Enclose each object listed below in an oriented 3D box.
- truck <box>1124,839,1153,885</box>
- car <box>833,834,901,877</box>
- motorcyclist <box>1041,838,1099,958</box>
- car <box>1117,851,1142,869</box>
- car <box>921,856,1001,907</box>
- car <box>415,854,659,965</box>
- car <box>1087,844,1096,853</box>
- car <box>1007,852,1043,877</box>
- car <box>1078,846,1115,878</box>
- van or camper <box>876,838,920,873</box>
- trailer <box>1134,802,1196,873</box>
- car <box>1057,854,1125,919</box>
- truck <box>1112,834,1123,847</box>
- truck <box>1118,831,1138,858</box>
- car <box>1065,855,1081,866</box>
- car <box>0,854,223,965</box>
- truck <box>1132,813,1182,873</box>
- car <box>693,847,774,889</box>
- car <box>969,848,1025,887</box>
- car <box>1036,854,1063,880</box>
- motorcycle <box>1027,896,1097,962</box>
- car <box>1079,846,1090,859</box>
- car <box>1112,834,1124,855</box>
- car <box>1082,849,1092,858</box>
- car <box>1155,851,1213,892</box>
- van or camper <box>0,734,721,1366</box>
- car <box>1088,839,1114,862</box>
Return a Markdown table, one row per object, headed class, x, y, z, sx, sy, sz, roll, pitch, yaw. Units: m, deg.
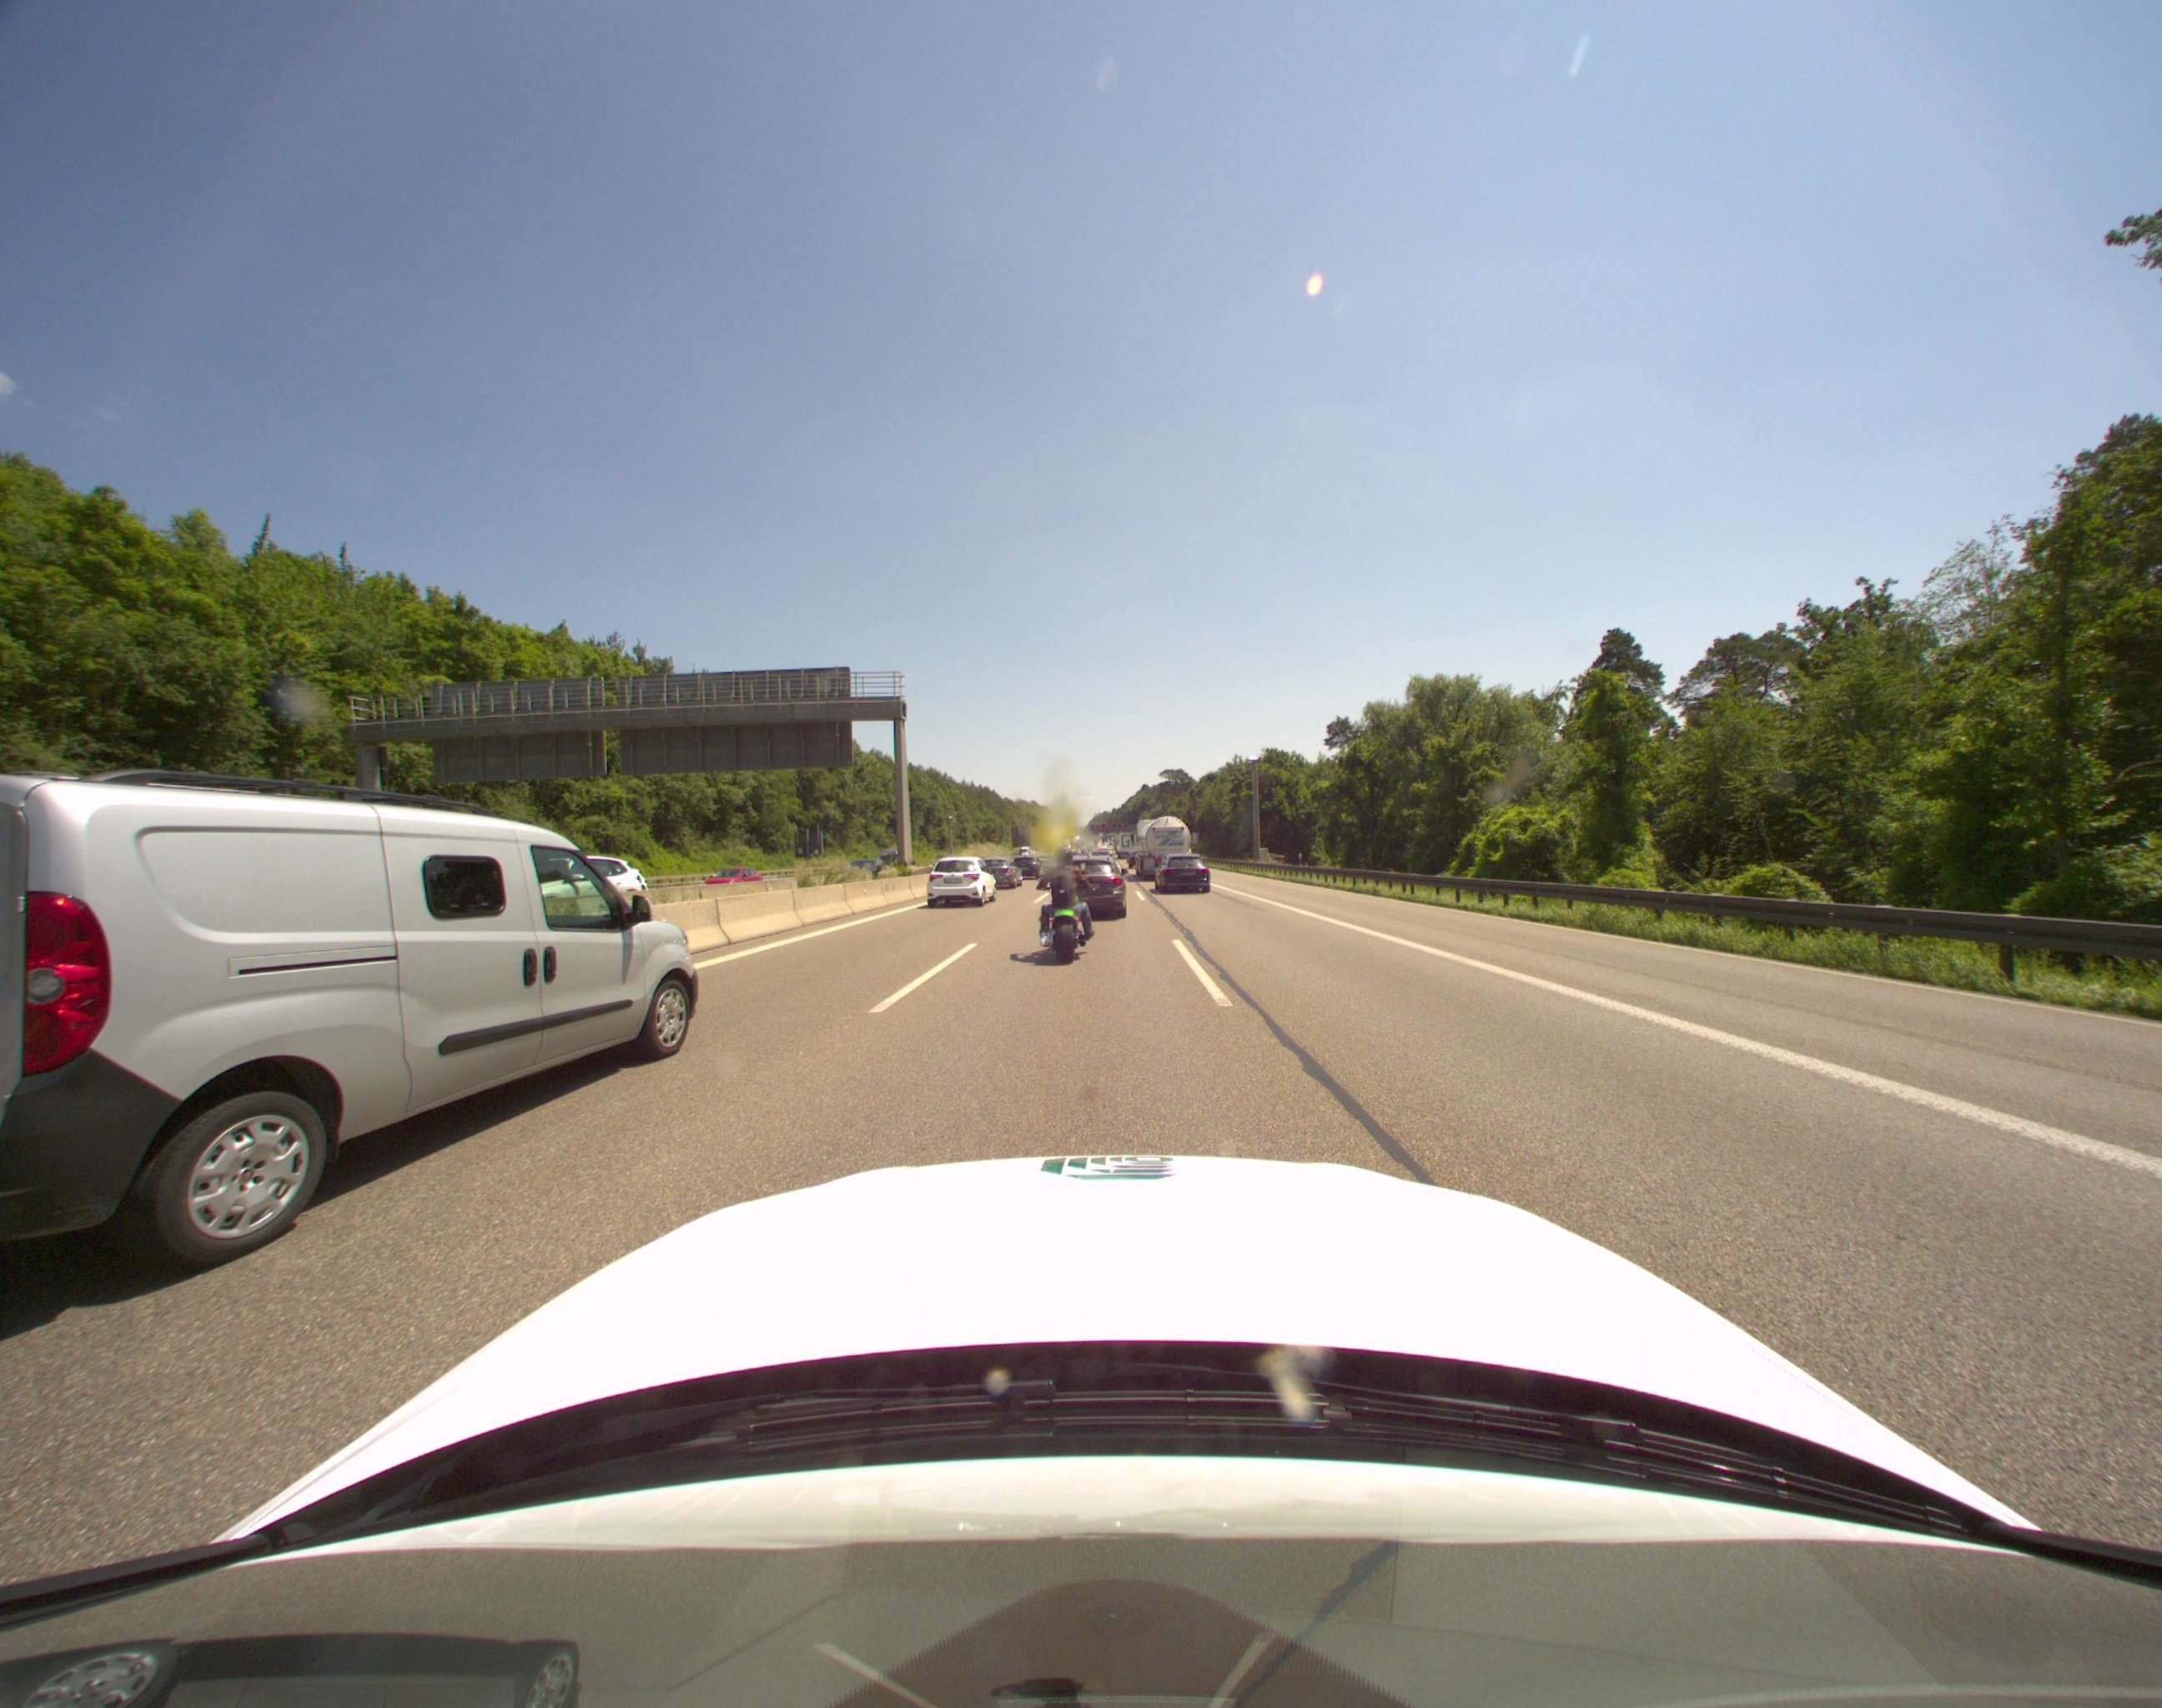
| class | x | y | z | sx | sy | sz | roll | pitch | yaw |
| --- | --- | --- | --- | --- | --- | --- | --- | --- | --- |
| truck | 5.949 | 0.796 | 85.725 | 2.380 | 4.464 | 10.870 | -1 | 0 | 1 |
| car | -10.569 | 0.128 | 40.695 | 1.987 | 2.014 | 5.154 | -1 | -1 | 0 |
| motorcyclist | -0.142 | 0.627 | 12.044 | 0.796 | 1.688 | 1.017 | -1 | -1 | 1 |
| car | 4.088 | 0.532 | 69.367 | 1.771 | 1.527 | 3.996 | -1 | -1 | -2 |
| car | -3.653 | 0.792 | 25.518 | 1.769 | 1.411 | 4.002 | -1 | 1 | 2 |
| car | -11.127 | 1.063 | 17.136 | 1.985 | 2.014 | 4.352 | -1 | -1 | 4 |
| car | 2.659 | -1.367 | 202.294 | 1.986 | 2.014 | 4.001 | -2 | -1 | 2 |
| car | -3.389 | 0.660 | 49.869 | 1.988 | 1.464 | 3.997 | -1 | -1 | -2 |
| car | 0.857 | 0.468 | 46.055 | 1.986 | 1.711 | 4.000 | -1 | -1 | 1 |
| van or camper | -15.698 | 0.181 | 70.364 | 2.146 | 2.859 | 6.653 | -1 | -1 | 1 |
| trailer | 4.684 | -0.744 | 47.407 | 2.817 | 3.671 | 10.735 | -1 | -1 | 2 |
| car | 0.290 | 0.740 | 20.330 | 1.535 | 1.450 | 4.001 | -1 | 0 | 2 |
| truck | 10.289 | -3.720 | 230.932 | 2.686 | 3.405 | 10.482 | -2 | -1 | 2 |
| truck | 7.331 | -1.439 | 126.019 | 2.840 | 3.821 | 7.196 | -1 | -1 | 4 |
| car | -1.040 | 0.826 | 107.301 | 1.757 | 1.442 | 4.002 | -2 | 0 | 2 |
| car | -20.389 | 1.037 | 16.056 | 1.985 | 2.014 | 4.477 | -1 | -1 | 4 |
| truck | 4.876 | -0.625 | 53.274 | 2.817 | 3.671 | 6.431 | -1 | -1 | 2 |
| car | -17.547 | 0.736 | 41.413 | 2.115 | 2.014 | 4.366 | -1 | -1 | 2 |
| car | -3.820 | 0.631 | 37.651 | 1.986 | 1.684 | 4.331 | -1 | -1 | 2 |
| car | -2.565 | 1.081 | 67.392 | 1.986 | 2.014 | 4.000 | -1 | -1 | 1 |
| motorcycle | -0.241 | 1.094 | 12.367 | 0.932 | 0.793 | 2.300 | -1 | -1 | 2 |
| car | 0.586 | -0.248 | 129.855 | 1.654 | 1.978 | 4.002 | -1 | -1 | 2 |
| car | 7.486 | -1.819 | 164.579 | 2.159 | 3.893 | 9.333 | -1 | -1 | 2 |
| car | 1.142 | -0.119 | 148.918 | 1.654 | 1.599 | 4.002 | -1 | -1 | 2 |
| car | 3.899 | 0.680 | 31.574 | 1.785 | 1.458 | 4.625 | -1 | -1 | 2 |
| van or camper | -4.076 | 0.583 | 4.703 | 1.846 | 1.880 | 4.563 | -1 | 0 | 1 |
| car | 1.600 | -0.248 | 65.866 | 1.986 | 1.775 | 4.000 | -1 | -1 | 1 |
